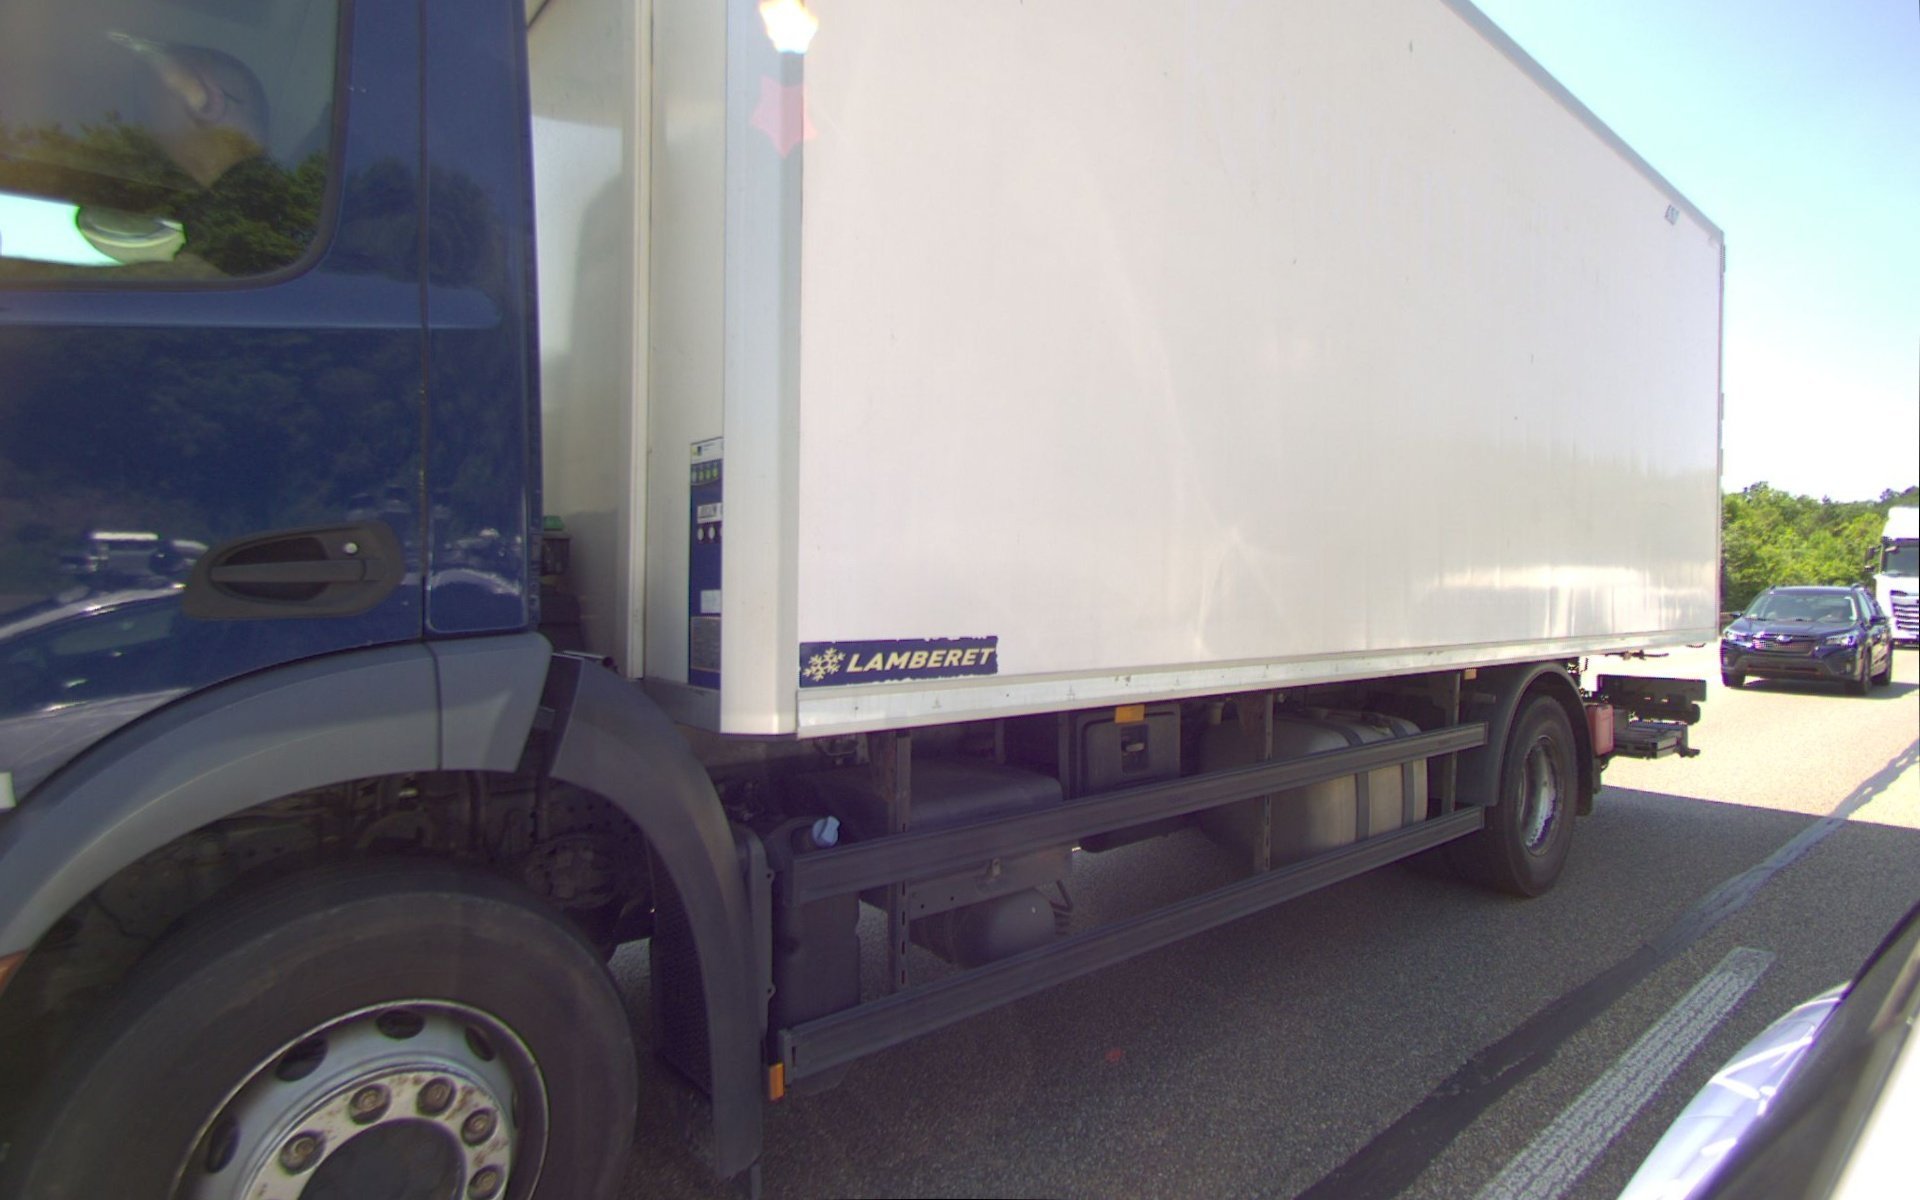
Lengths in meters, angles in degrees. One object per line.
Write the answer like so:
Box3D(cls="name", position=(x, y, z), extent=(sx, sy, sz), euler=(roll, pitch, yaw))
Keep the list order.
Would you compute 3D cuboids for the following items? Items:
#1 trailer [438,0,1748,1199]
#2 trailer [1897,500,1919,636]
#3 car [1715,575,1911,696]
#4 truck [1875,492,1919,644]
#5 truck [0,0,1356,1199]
Box3D(cls="trailer", position=(1.753, -0.178, 5.443), extent=(7.745, 2.935, 2.560), euler=(0, 0, -41))
Box3D(cls="trailer", position=(34.156, -1.040, 33.918), extent=(11.416, 4.134, 2.765), euler=(-1, 3, -41))
Box3D(cls="car", position=(14.299, 0.456, 16.873), extent=(4.534, 1.713, 1.996), euler=(-1, 3, -44))
Box3D(cls="truck", position=(29.265, -0.939, 29.655), extent=(7.206, 4.135, 2.765), euler=(-1, 1, -41))
Box3D(cls="truck", position=(-1.106, -0.110, 2.928), extent=(4.031, 2.977, 2.561), euler=(-1, 2, -40))
